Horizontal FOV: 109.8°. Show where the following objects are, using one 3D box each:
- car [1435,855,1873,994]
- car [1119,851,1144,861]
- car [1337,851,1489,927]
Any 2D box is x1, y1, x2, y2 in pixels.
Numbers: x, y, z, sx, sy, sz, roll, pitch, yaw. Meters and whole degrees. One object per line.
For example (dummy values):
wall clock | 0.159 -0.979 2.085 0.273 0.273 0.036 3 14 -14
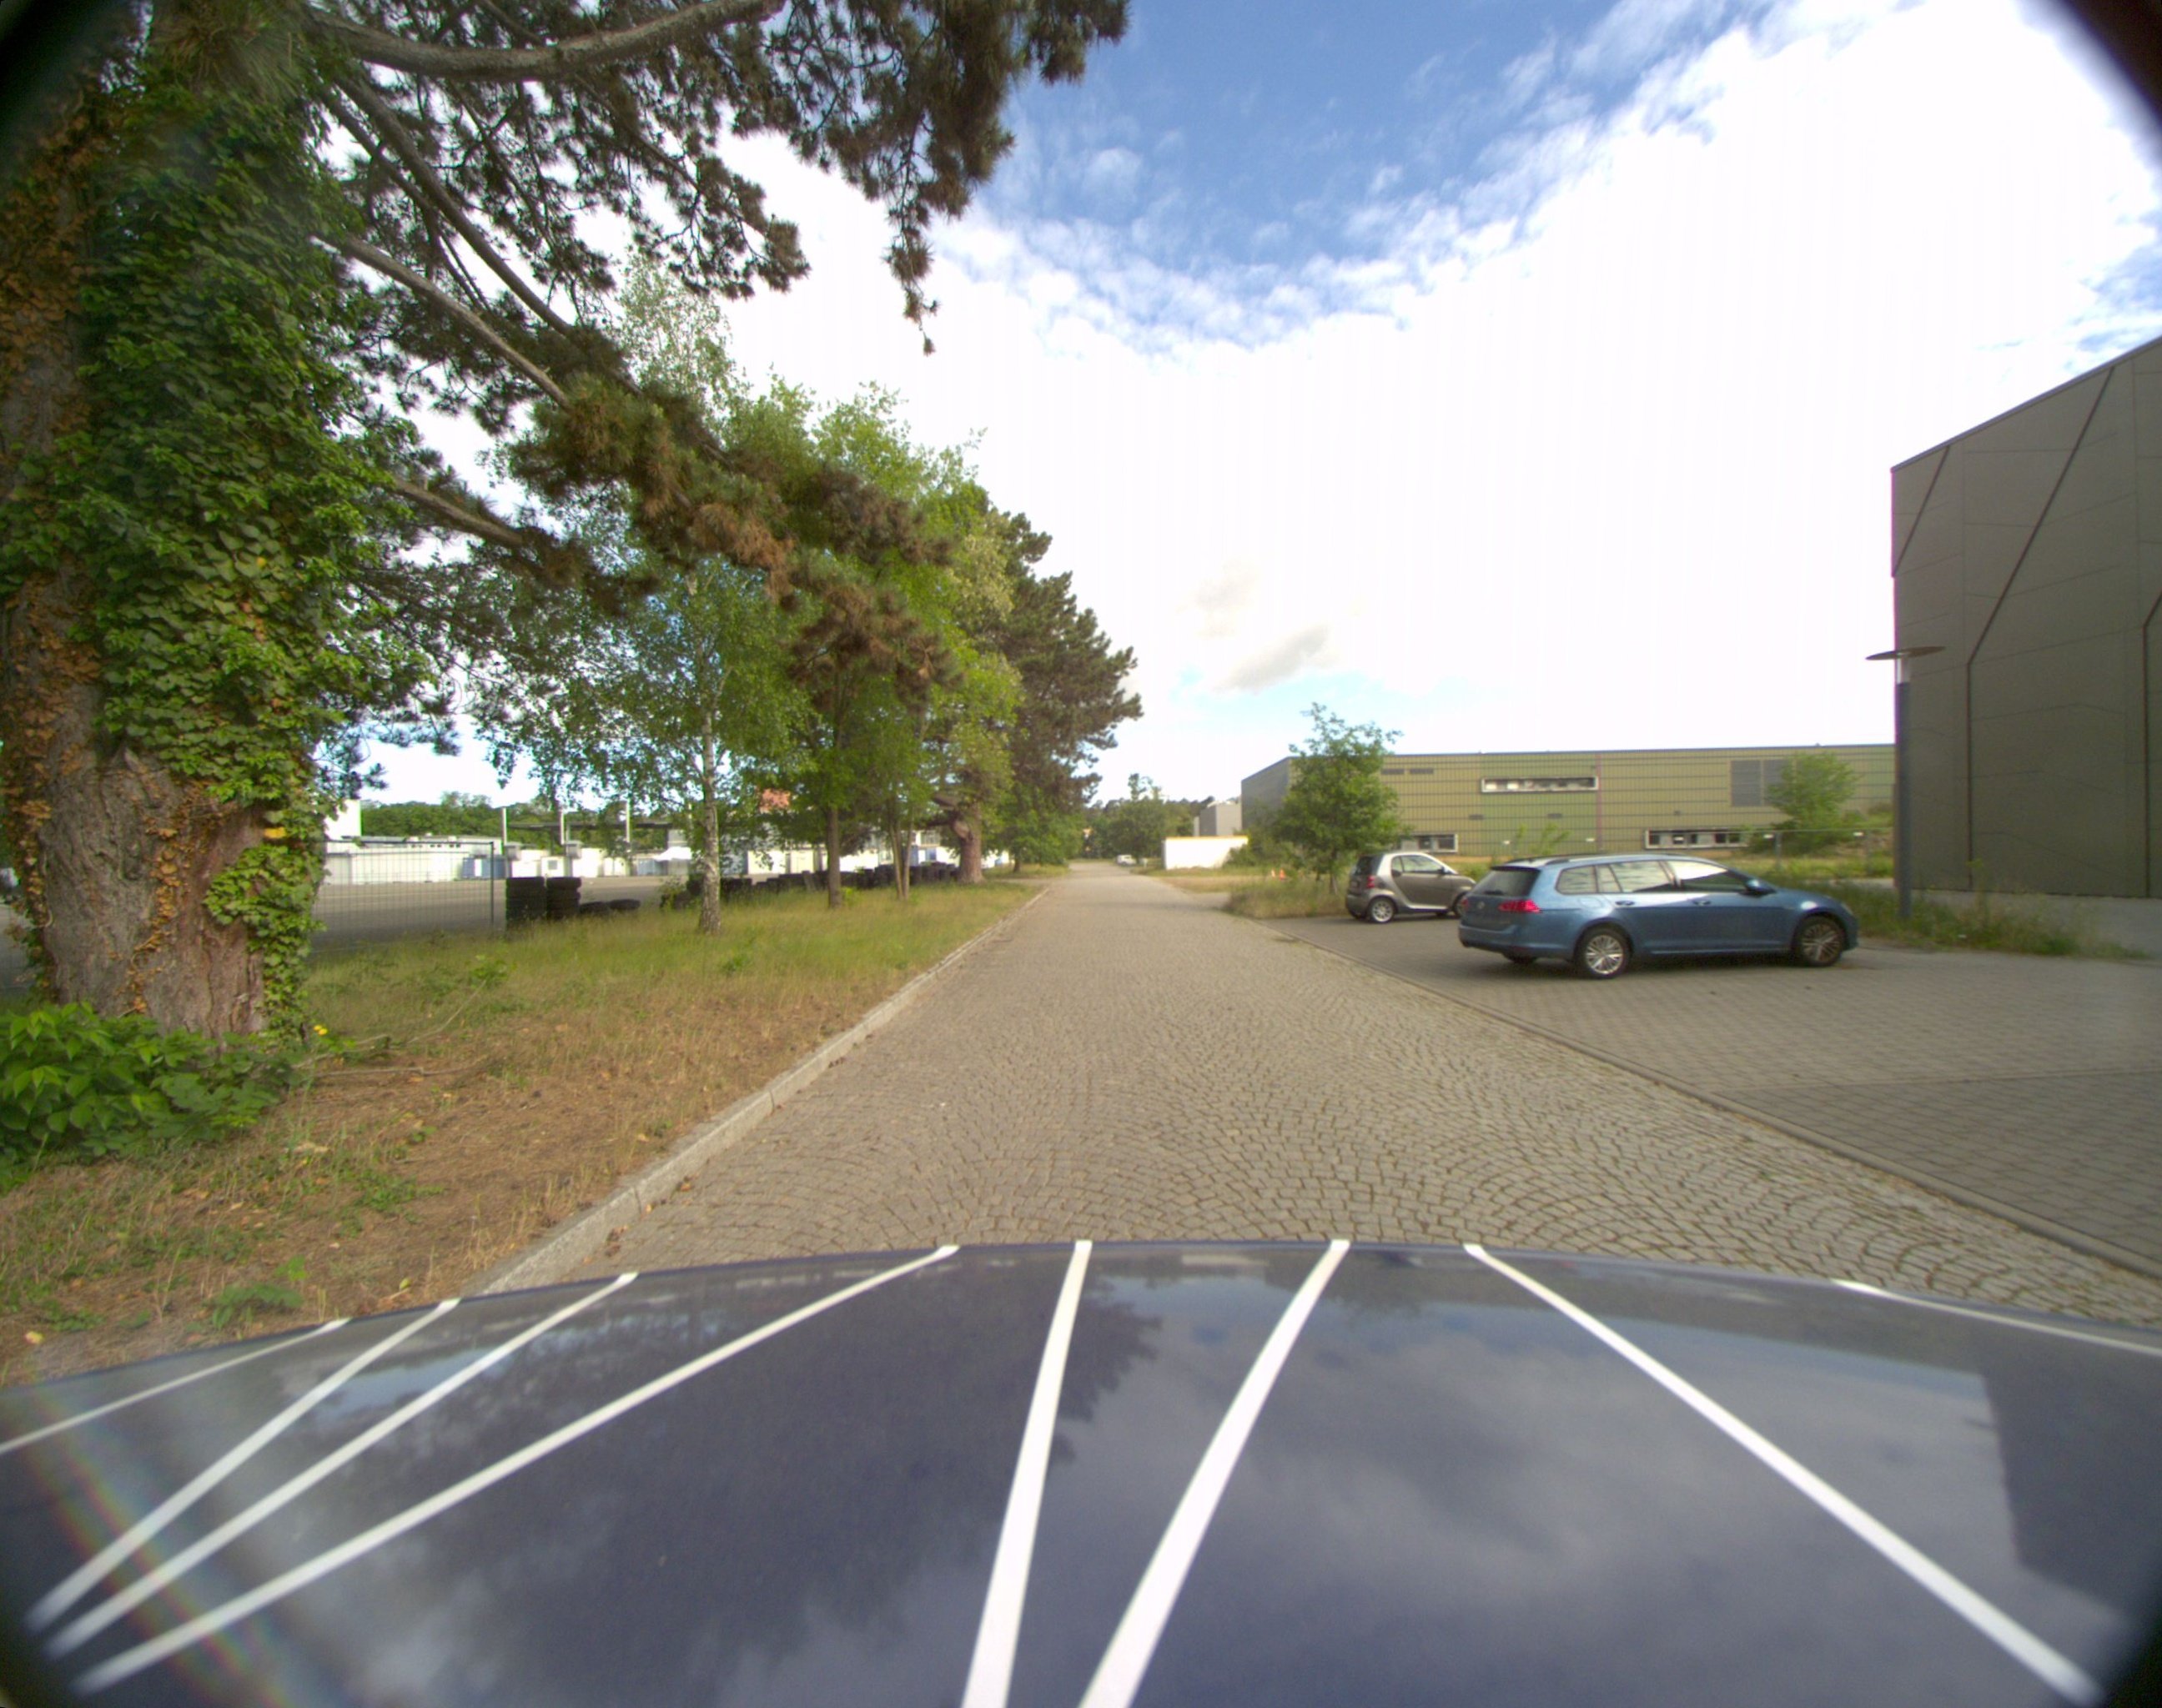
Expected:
car | 7.139 0.818 9.765 4.317 1.420 1.773 -3 0 -2
car | 8.305 0.356 124.295 3.996 1.604 1.797 -1 0 4
car | 7.388 0.745 17.073 2.661 1.502 1.610 -3 0 0
